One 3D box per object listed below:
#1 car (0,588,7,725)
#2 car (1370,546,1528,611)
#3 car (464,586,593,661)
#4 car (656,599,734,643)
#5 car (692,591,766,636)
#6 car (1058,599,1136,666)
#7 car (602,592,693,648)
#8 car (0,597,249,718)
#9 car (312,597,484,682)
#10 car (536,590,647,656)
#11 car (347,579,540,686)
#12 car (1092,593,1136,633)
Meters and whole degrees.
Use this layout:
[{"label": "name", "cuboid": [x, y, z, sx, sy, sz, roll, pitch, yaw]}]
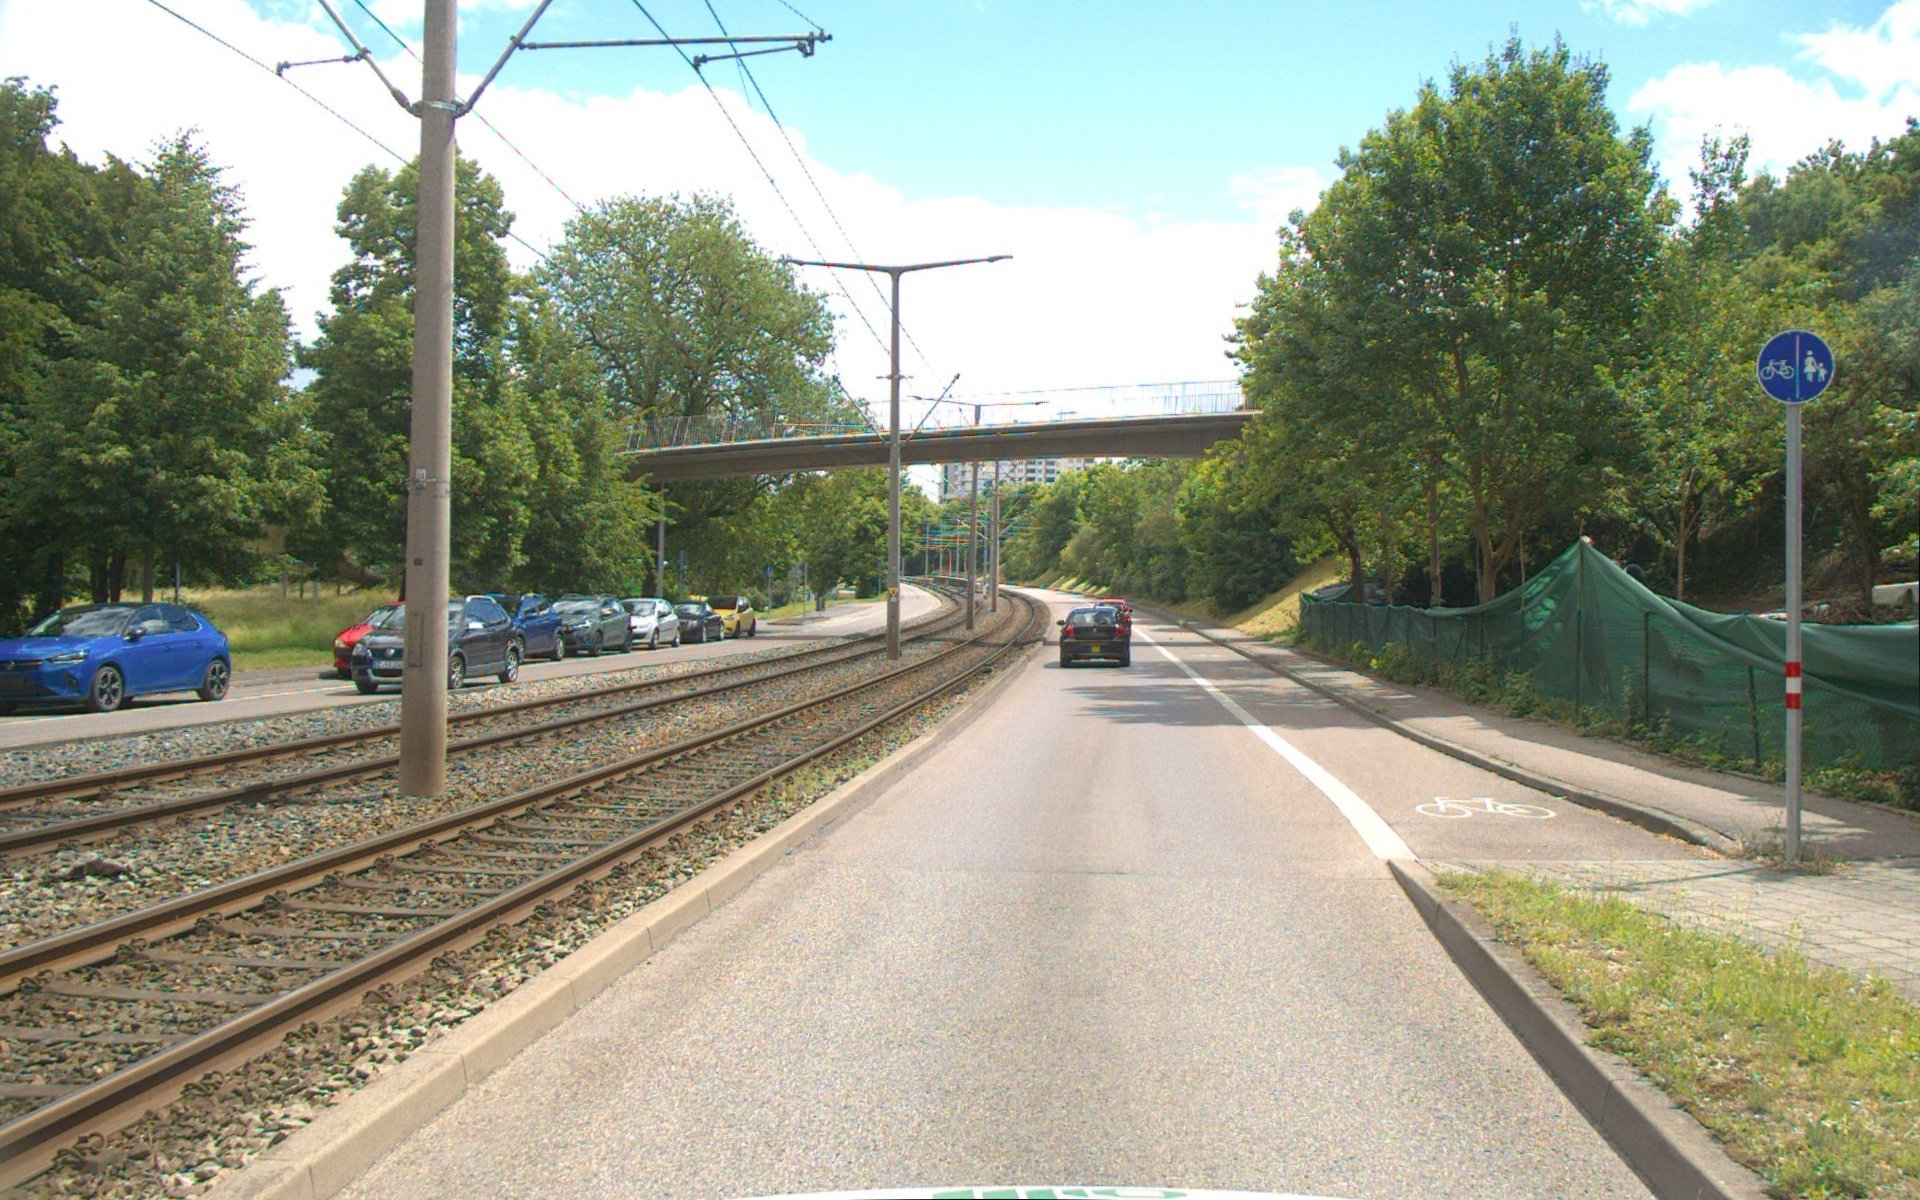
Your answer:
[{"label": "car", "cuboid": [-12.422, 0.685, 17.713, 1.546, 1.633, 4.378, 0, 0, 6]}, {"label": "car", "cuboid": [15.246, -0.646, 51.787, 4.428, 1.701, 2.001, -4, -2, 8]}, {"label": "car", "cuboid": [-10.181, 0.582, 39.338, 1.524, 1.624, 4.162, 2, -1, 6]}, {"label": "car", "cuboid": [-8.688, 0.690, 54.523, 1.479, 1.384, 4.131, 0, 0, 6]}, {"label": "car", "cuboid": [-8.283, 0.503, 59.544, 1.653, 1.476, 3.901, 2, -1, 6]}, {"label": "car", "cuboid": [3.415, 0.768, 40.580, 1.672, 1.485, 3.963, 3, 0, 7]}, {"label": "car", "cuboid": [-9.217, 0.633, 49.090, 1.560, 1.520, 4.194, 2, -2, 4]}, {"label": "car", "cuboid": [-11.791, 0.773, 23.042, 1.579, 1.486, 4.010, 2, -1, 7]}, {"label": "car", "cuboid": [-11.033, 0.789, 32.753, 1.579, 1.520, 4.050, 2, -1, 6]}, {"label": "car", "cuboid": [-9.643, 0.583, 43.566, 1.607, 1.651, 4.128, 0, 0, 6]}, {"label": "car", "cuboid": [-8.528, 0.543, 27.660, 1.579, 1.601, 4.002, 2, -1, 6]}, {"label": "car", "cuboid": [6.196, 0.536, 66.342, 1.590, 1.469, 3.423, 2, -1, 7]}]
